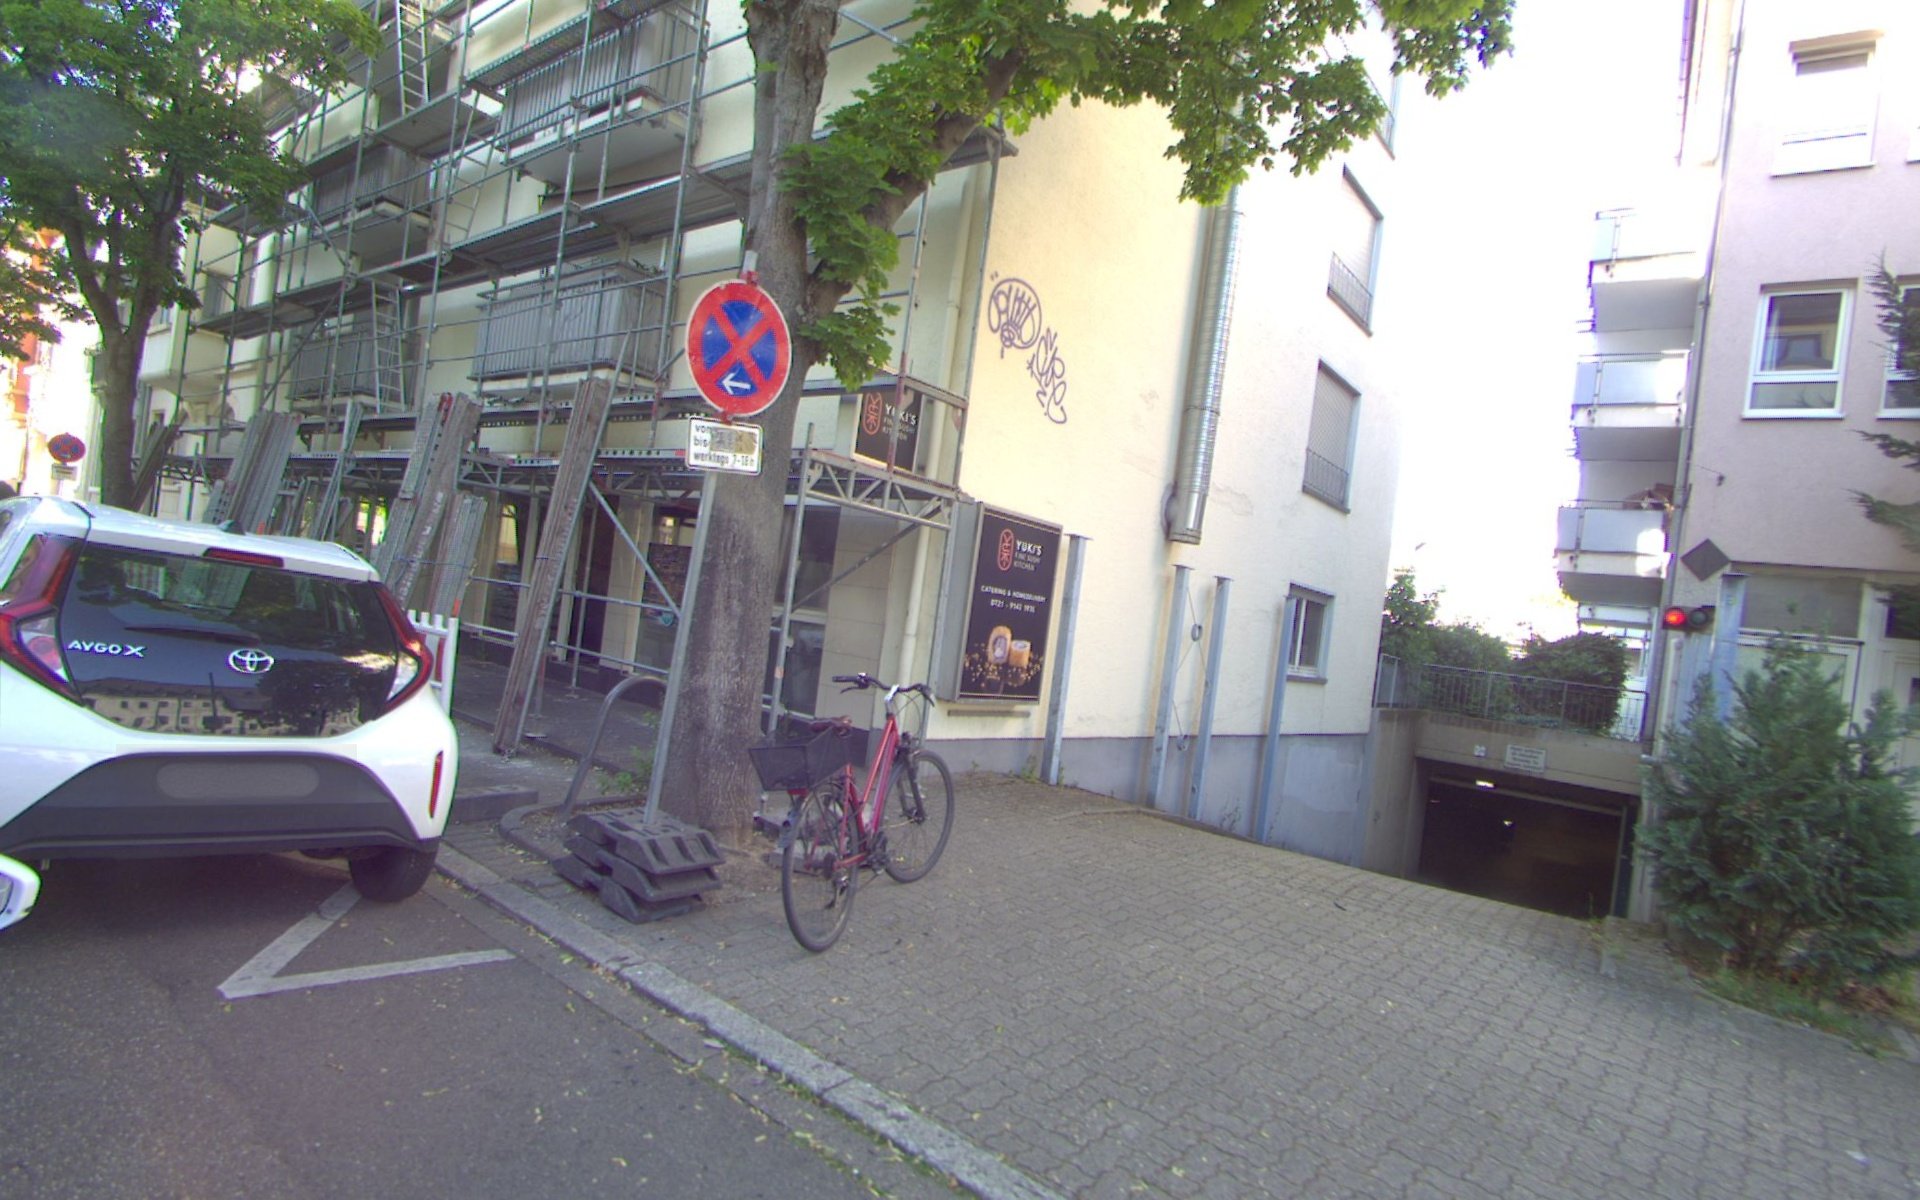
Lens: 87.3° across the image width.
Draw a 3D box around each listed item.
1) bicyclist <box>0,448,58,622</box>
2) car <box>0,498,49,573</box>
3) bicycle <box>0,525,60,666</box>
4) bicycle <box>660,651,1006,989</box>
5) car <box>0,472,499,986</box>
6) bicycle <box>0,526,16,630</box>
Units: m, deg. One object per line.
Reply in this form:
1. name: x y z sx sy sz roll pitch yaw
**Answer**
1. bicyclist: -9.252 -0.630 9.491 0.876 1.579 0.861 6 -2 -34
2. car: -21.303 -1.550 21.966 3.333 1.424 1.557 7 -3 41
3. bicycle: -9.250 -0.103 9.373 0.836 1.161 2.211 13 -3 -35
4. bicycle: -0.492 0.908 4.941 0.713 1.180 1.984 7 2 22
5. car: -3.815 0.341 4.587 3.354 1.562 1.675 6 -3 40
6. bicycle: -10.814 -0.286 10.627 0.834 1.162 2.213 7 -4 -35
